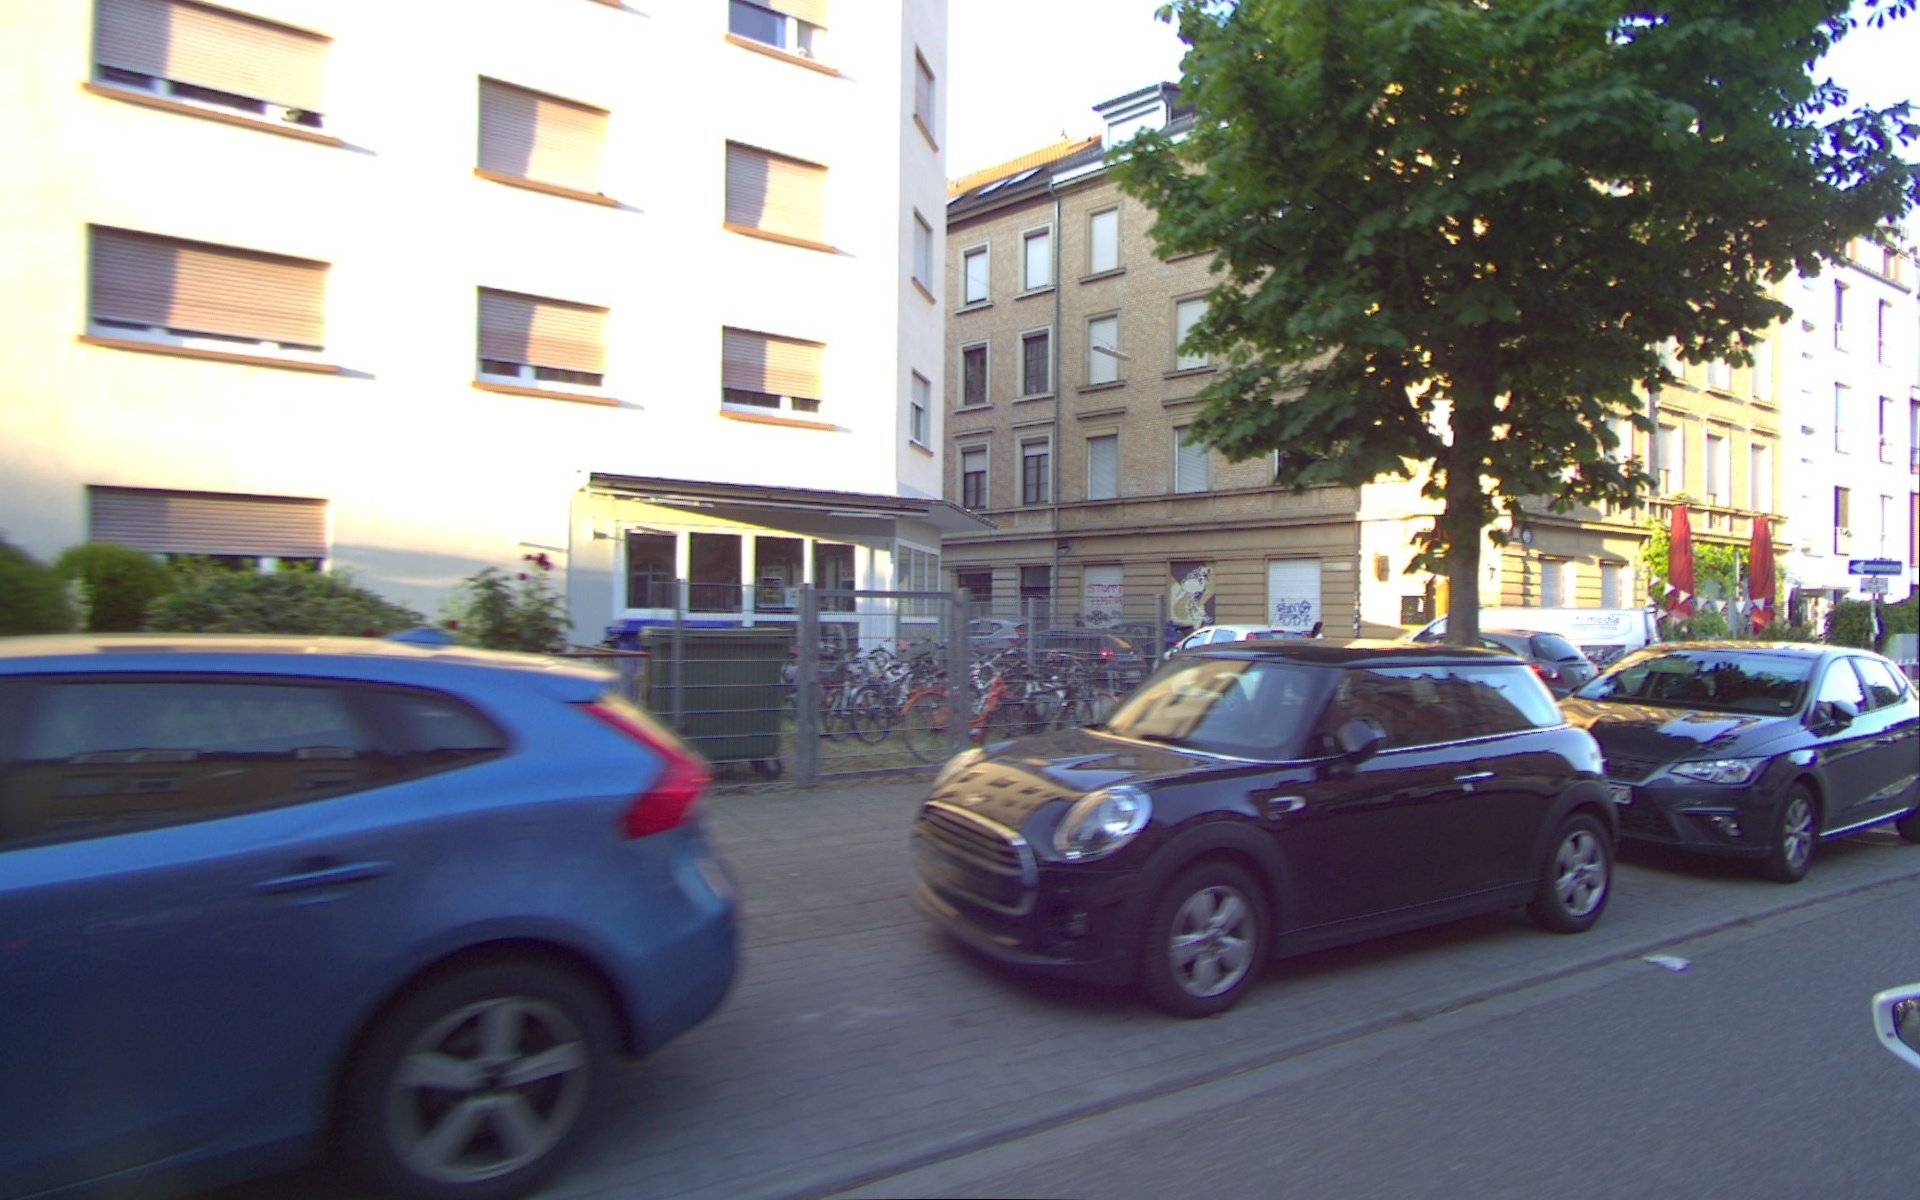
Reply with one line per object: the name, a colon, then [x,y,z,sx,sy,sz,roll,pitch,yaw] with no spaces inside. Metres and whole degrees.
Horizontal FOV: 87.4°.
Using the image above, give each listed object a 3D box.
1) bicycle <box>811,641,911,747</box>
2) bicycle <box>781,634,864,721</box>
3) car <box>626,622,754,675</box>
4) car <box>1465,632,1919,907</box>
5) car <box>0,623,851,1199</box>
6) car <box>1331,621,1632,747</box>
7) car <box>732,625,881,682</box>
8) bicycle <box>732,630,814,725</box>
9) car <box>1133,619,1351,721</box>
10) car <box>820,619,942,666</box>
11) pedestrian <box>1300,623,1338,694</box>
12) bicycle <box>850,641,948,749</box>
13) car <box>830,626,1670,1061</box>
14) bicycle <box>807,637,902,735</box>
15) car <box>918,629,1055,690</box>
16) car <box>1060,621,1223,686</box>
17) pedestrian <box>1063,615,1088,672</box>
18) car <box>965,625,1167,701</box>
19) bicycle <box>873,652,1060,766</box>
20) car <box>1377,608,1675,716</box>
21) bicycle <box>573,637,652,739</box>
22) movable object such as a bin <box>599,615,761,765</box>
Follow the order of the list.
bicycle: [-1.150,1.076,11.952,0.491,1.107,1.548,2,0,22]
bicycle: [-1.974,1.062,14.242,0.496,1.107,1.533,1,0,-35]
car: [-8.269,1.417,30.633,3.938,1.487,1.780,-1,-1,39]
car: [5.833,1.017,7.485,4.414,1.481,1.665,2,-1,-32]
car: [-2.741,0.794,2.614,4.538,1.431,1.852,2,-1,-31]
car: [7.438,1.097,14.631,1.823,1.528,3.490,0,0,-30]
car: [-4.205,1.390,27.271,3.938,1.426,1.867,-1,-1,39]
bicycle: [-2.570,1.026,13.698,0.496,1.156,1.533,1,0,-35]
car: [4.997,1.183,18.406,1.942,1.528,4.057,1,0,-17]
car: [-2.669,1.370,33.471,3.940,1.446,1.835,-1,-1,40]
pedestrian: [8.646,1.389,24.168,0.772,1.640,0.711,2,0,25]
bicycle: [-0.685,1.069,11.747,0.491,1.107,1.548,2,0,23]
car: [1.568,0.893,5.147,4.090,1.439,1.735,1,-1,-28]
bicycle: [-1.304,1.048,12.729,0.378,1.107,1.710,2,0,23]
car: [0.742,1.695,29.697,3.940,1.644,1.577,-1,-1,40]
car: [4.847,1.371,26.966,3.856,1.592,2.016,-1,-1,36]
pedestrian: [3.543,1.335,30.793,0.491,1.709,0.592,2,0,38]
car: [2.234,1.281,21.809,4.023,1.458,1.987,-1,-1,44]
bicycle: [0.097,1.094,10.497,1.913,1.039,0.682,1,0,-36]
car: [11.779,1.181,21.085,5.211,2.001,2.200,0,-1,38]
bicycle: [-4.319,1.051,12.418,0.496,1.107,1.533,1,0,-35]
movable object such as a bin: [-2.795,0.853,10.019,1.381,1.370,0.863,1,0,-28]
